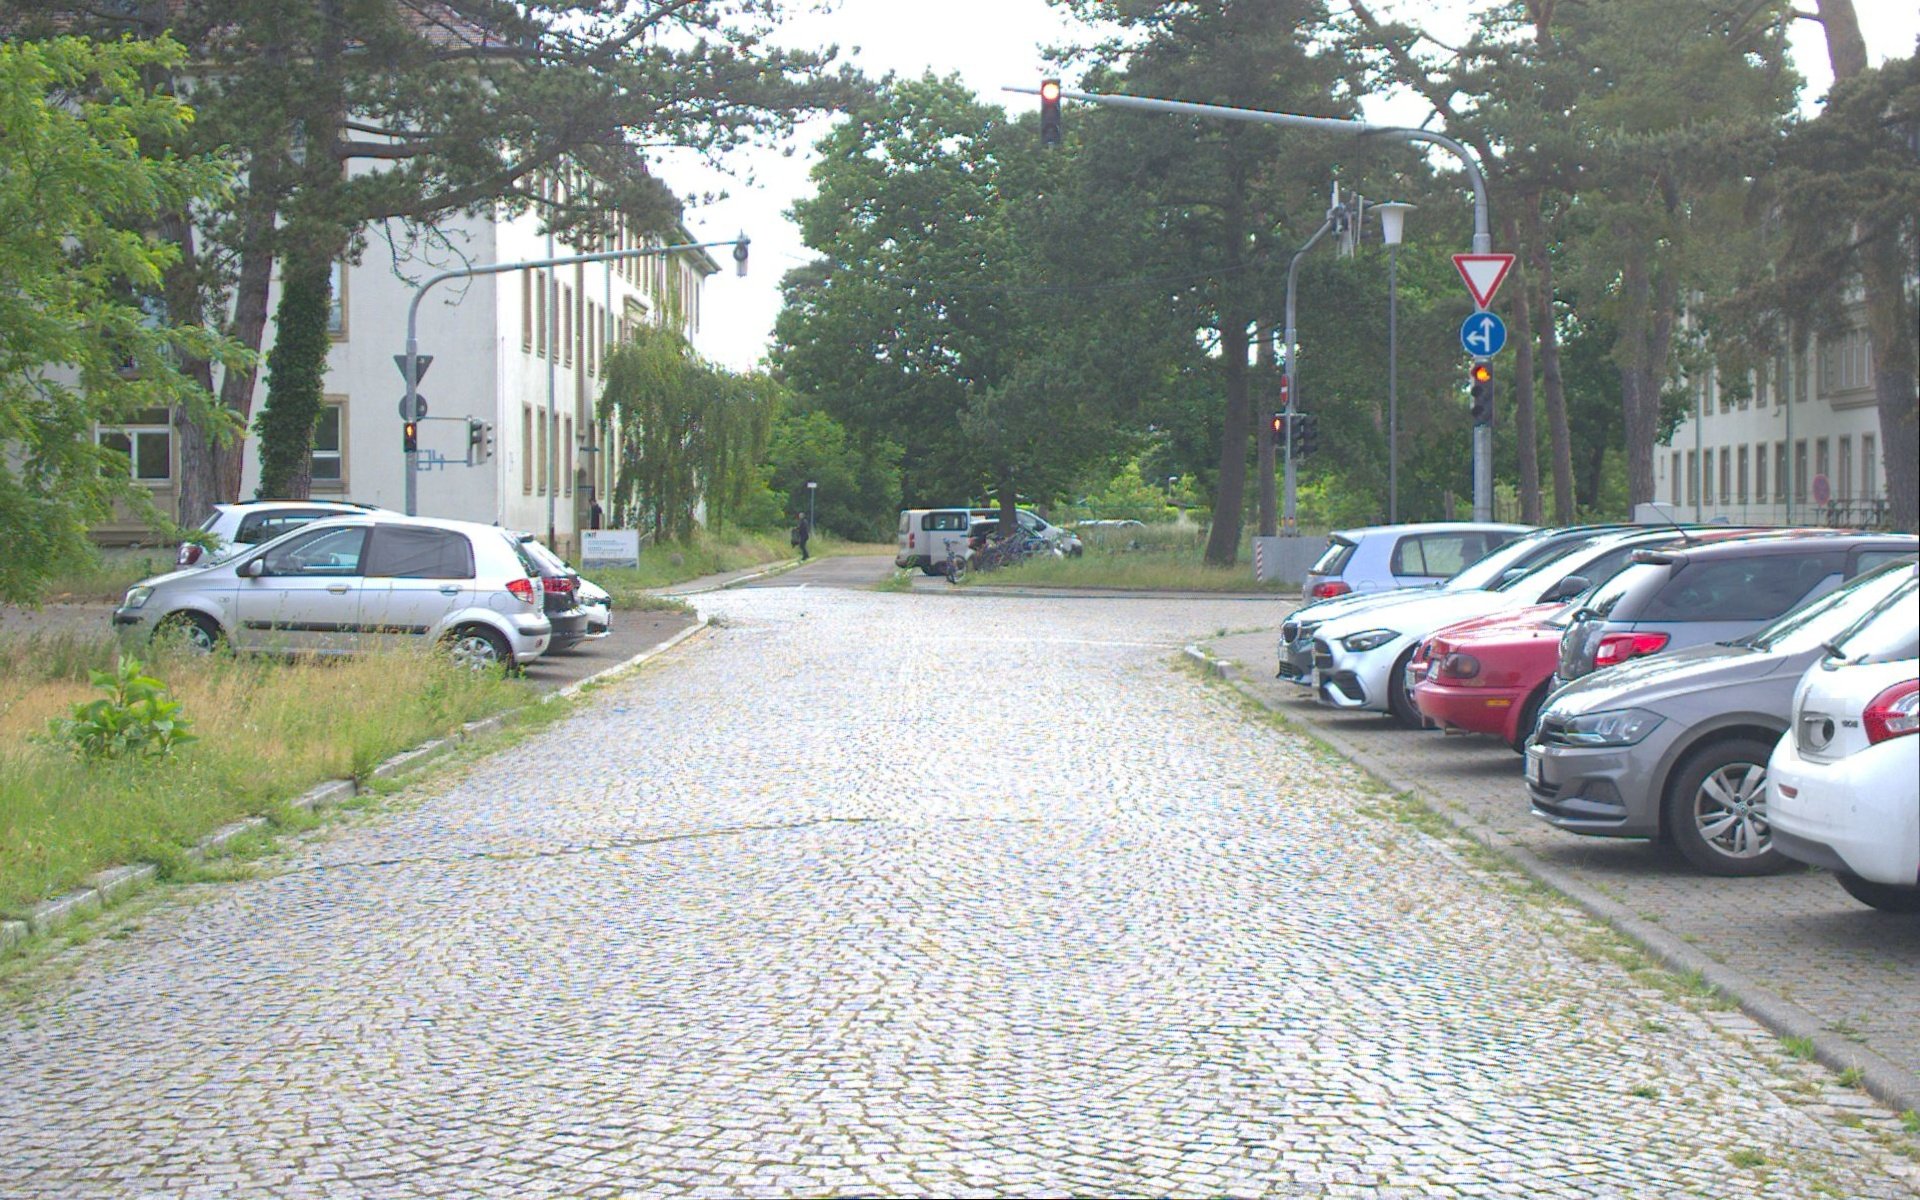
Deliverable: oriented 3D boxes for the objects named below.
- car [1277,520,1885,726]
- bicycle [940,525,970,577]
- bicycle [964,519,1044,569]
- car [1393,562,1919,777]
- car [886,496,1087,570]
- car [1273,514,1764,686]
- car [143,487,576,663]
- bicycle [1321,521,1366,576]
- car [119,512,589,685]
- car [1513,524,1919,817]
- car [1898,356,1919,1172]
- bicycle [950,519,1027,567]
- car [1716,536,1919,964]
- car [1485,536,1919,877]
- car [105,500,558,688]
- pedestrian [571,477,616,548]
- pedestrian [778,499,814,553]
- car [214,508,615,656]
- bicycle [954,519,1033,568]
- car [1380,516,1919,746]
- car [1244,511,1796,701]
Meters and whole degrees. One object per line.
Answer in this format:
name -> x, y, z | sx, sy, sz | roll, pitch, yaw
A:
car -> 4.649, 0.141, 26.040 | 4.184, 1.432, 1.756 | -1, 2, -7
bicycle -> -0.106, -1.132, 78.849 | 0.663, 1.167, 1.888 | 2, 1, 0
bicycle -> 1.077, -1.368, 84.335 | 1.881, 1.167, 0.665 | 1, 1, -5
car -> 4.578, 0.406, 21.340 | 3.587, 1.218, 1.628 | -1, 2, 1
car -> 0.744, -1.917, 98.274 | 5.374, 2.094, 2.179 | 0, 1, -12
car -> 5.051, -0.027, 31.357 | 4.134, 1.458, 1.634 | -1, 2, -5
car -> -6.196, -0.280, 35.862 | 4.297, 1.726, 1.653 | -1, 2, -5
bicycle -> 7.597, -1.027, 68.186 | 0.663, 1.047, 1.888 | 2, 2, 0
car -> -5.749, -0.046, 33.060 | 4.297, 1.548, 1.812 | -1, 2, -6
car -> 4.914, 0.339, 18.711 | 3.505, 1.482, 1.743 | -1, 2, 0
car -> 4.763, 0.396, 7.627 | 4.795, 1.997, 1.966 | -1, 2, -2
bicycle -> 0.717, -1.436, 86.973 | 1.881, 1.167, 0.665 | 1, 1, -5
car -> 4.873, 0.494, 12.940 | 3.653, 1.473, 1.766 | -1, 2, 0
car -> 4.623, 0.438, 15.845 | 4.130, 1.442, 1.766 | -1, 2, 1
car -> -5.509, -0.071, 30.461 | 3.720, 1.475, 1.673 | 2, 1, -3
pedestrian -> -10.231, -2.450, 96.001 | 1.074, 1.952, 1.121 | 2, 1, 0
pedestrian -> -6.108, -2.765, 127.952 | 1.239, 1.952, 1.121 | 1, 1, -5
car -> -6.017, -0.222, 38.318 | 4.297, 1.548, 1.812 | -1, 2, -6
bicycle -> 0.836, -1.412, 86.020 | 1.881, 1.167, 0.665 | 1, 1, -5
car -> 5.070, 0.182, 23.676 | 4.105, 1.471, 1.685 | -1, 2, -1
car -> 4.656, 0.017, 28.805 | 4.227, 1.474, 1.710 | -1, 2, -10
